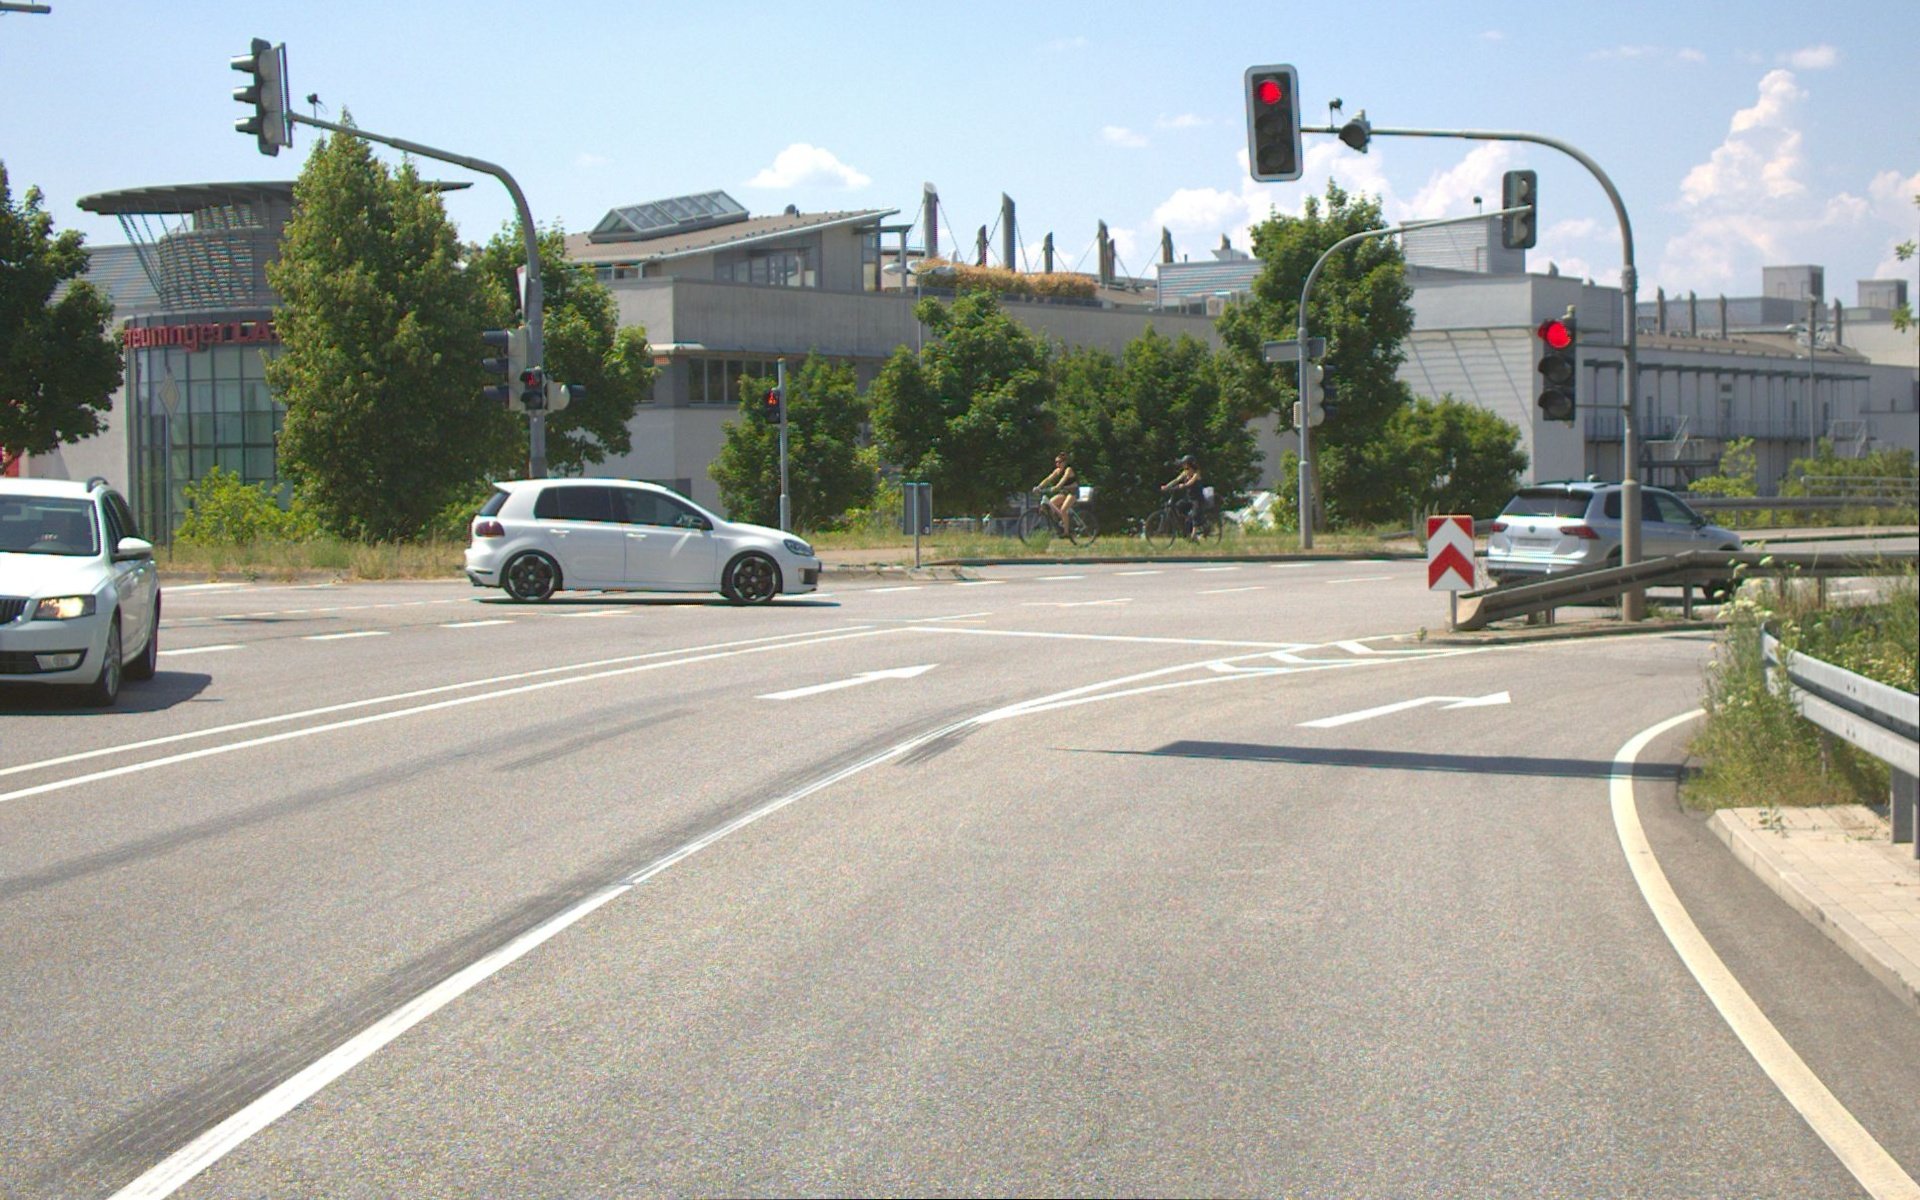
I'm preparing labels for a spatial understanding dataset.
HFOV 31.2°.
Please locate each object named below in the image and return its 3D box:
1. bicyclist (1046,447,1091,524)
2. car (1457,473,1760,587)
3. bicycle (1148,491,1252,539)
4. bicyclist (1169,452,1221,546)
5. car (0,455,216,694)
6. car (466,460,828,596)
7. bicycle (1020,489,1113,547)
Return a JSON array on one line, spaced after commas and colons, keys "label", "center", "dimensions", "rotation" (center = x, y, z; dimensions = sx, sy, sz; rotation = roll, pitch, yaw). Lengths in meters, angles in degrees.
[{"label": "bicyclist", "center": [1.996, -2.106, 63.328], "dimensions": [0.683, 1.399, 0.408], "rotation": [0, 3, -36]}, {"label": "car", "center": [8.966, -0.971, 47.347], "dimensions": [1.999, 1.500, 4.385], "rotation": [0, 1, 44]}, {"label": "bicycle", "center": [4.461, -1.579, 63.853], "dimensions": [2.121, 0.849, 0.535], "rotation": [-1, 4, -41]}, {"label": "bicyclist", "center": [4.361, -1.879, 63.746], "dimensions": [0.728, 1.711, 0.531], "rotation": [0, 4, -39]}, {"label": "car", "center": [-6.412, -0.239, 23.646], "dimensions": [1.787, 1.490, 4.552], "rotation": [0, 2, -3]}, {"label": "car", "center": [-3.769, -0.869, 40.966], "dimensions": [4.120, 1.481, 2.001], "rotation": [1, 2, -10]}, {"label": "bicycle", "center": [1.966, -1.507, 63.343], "dimensions": [1.826, 1.021, 0.415], "rotation": [0, 4, -37]}]
